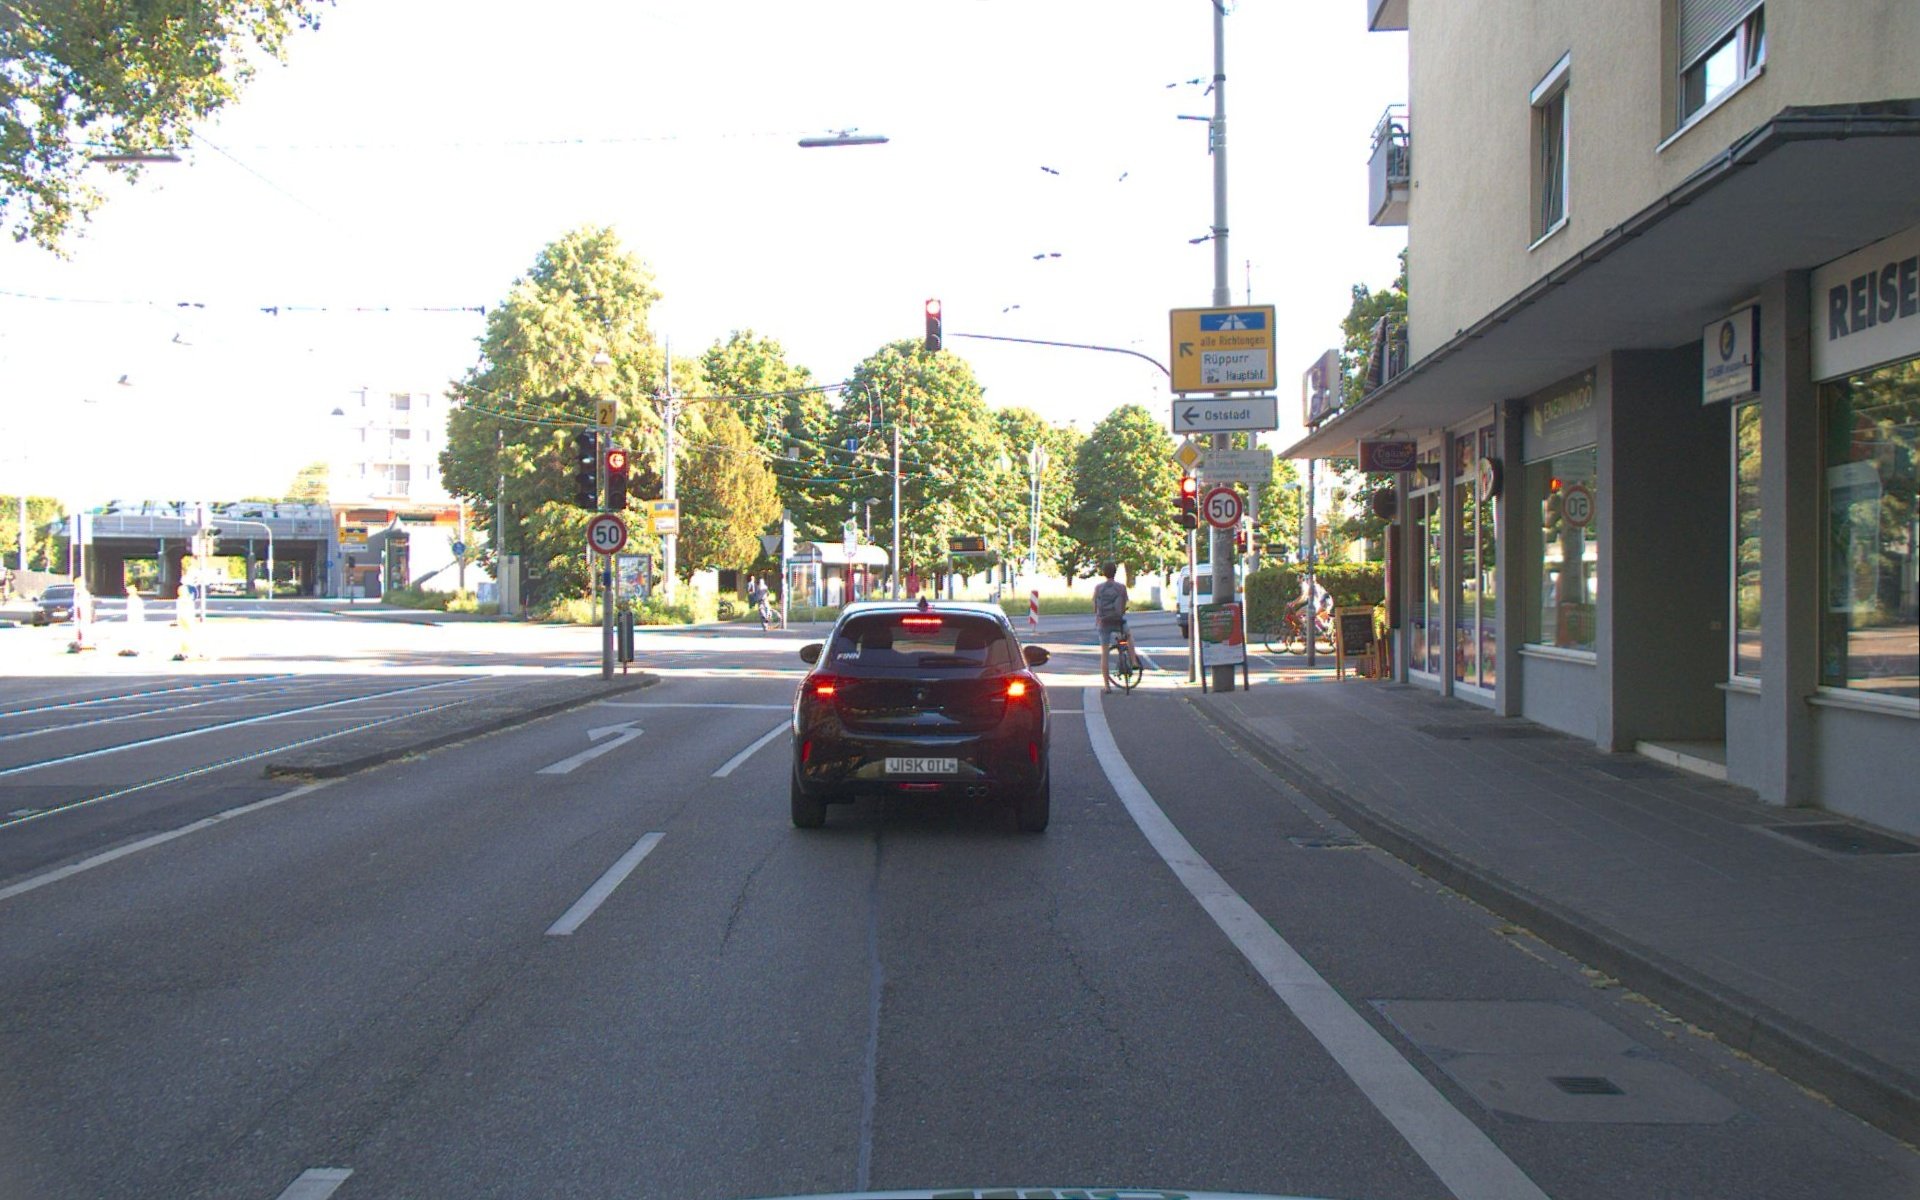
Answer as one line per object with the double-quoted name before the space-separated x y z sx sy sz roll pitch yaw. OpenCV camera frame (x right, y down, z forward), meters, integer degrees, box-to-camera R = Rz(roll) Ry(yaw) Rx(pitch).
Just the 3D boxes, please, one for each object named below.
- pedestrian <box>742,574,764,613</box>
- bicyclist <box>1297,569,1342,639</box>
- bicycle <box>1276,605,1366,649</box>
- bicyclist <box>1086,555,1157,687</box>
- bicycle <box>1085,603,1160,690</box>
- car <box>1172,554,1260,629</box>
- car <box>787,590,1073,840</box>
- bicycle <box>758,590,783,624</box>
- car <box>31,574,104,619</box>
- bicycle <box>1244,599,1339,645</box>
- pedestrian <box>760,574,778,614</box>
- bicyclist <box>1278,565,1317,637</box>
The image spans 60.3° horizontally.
"pedestrian" -8.900 -0.282 71.116 0.735 1.658 0.598 2 0 6
"bicyclist" 8.333 0.084 38.403 0.988 1.598 0.800 0 0 11
"bicycle" 8.368 0.631 38.413 2.014 1.001 0.673 0 1 11
"bicyclist" 2.345 0.296 24.058 0.922 1.883 0.864 -1 0 -1
"bicycle" 2.348 0.646 24.104 0.842 1.173 2.171 -1 1 -1
"car" 8.211 -0.295 52.721 2.020 2.288 4.890 0 1 18
"car" -0.187 0.675 11.971 1.692 1.454 4.187 1 1 0
"bicycle" -6.019 0.208 52.606 0.593 1.049 1.982 0 1 -1
"car" -32.910 -0.149 61.077 1.798 1.545 3.871 2 0 -20
"bicycle" 8.053 0.530 40.161 2.244 1.103 0.801 0 1 12
"pedestrian" -8.207 -0.258 71.034 0.623 1.658 0.572 2 0 6
"bicyclist" 8.179 0.014 40.109 0.907 1.737 0.876 0 0 12
